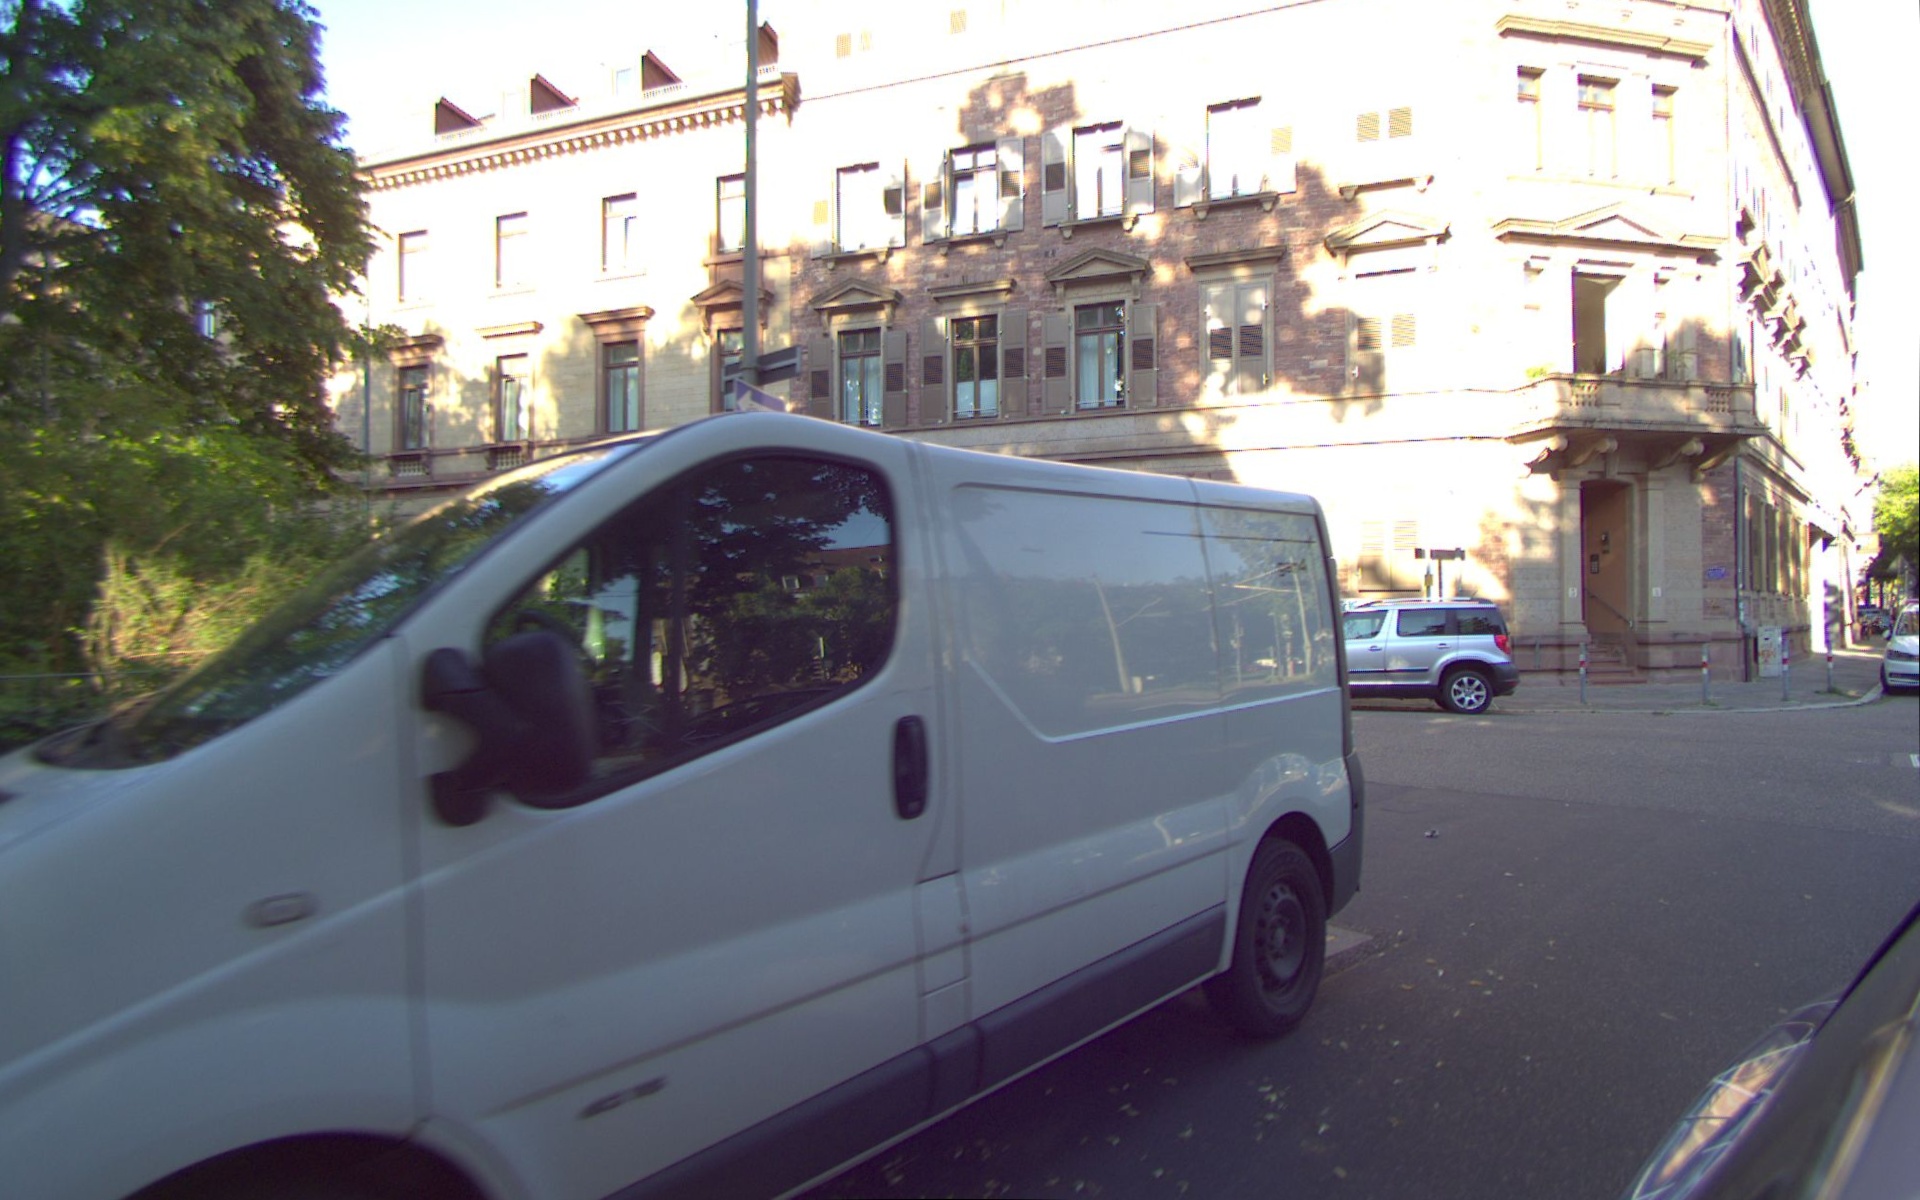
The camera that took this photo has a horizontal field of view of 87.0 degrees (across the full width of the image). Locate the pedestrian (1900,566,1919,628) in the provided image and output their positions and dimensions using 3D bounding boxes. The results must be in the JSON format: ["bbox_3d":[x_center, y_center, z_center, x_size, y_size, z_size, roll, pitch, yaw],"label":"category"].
[{"bbox_3d":[46.313,-0.126,49.157,0.917,2.985,0.689,-1,-1,42],"label":"pedestrian"}]

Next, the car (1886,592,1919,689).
[{"bbox_3d":[18.612,0.674,18.706,4.423,1.671,1.869,0,-3,-44],"label":"car"}]

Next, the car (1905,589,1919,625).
[{"bbox_3d":[60.339,0.429,63.108,1.992,2.200,4.542,0,0,42],"label":"car"}]

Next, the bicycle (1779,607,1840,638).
[{"bbox_3d":[31.276,0.814,37.269,2.052,1.131,0.684,0,-1,-17],"label":"bicycle"}]

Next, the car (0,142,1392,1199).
[{"bbox_3d":[-0.580,0.464,3.149,4.583,2.029,1.945,0,-1,-45],"label":"car"}]

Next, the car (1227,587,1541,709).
[{"bbox_3d":[6.302,0.746,15.488,4.133,1.679,1.908,-1,-4,20],"label":"car"}]
